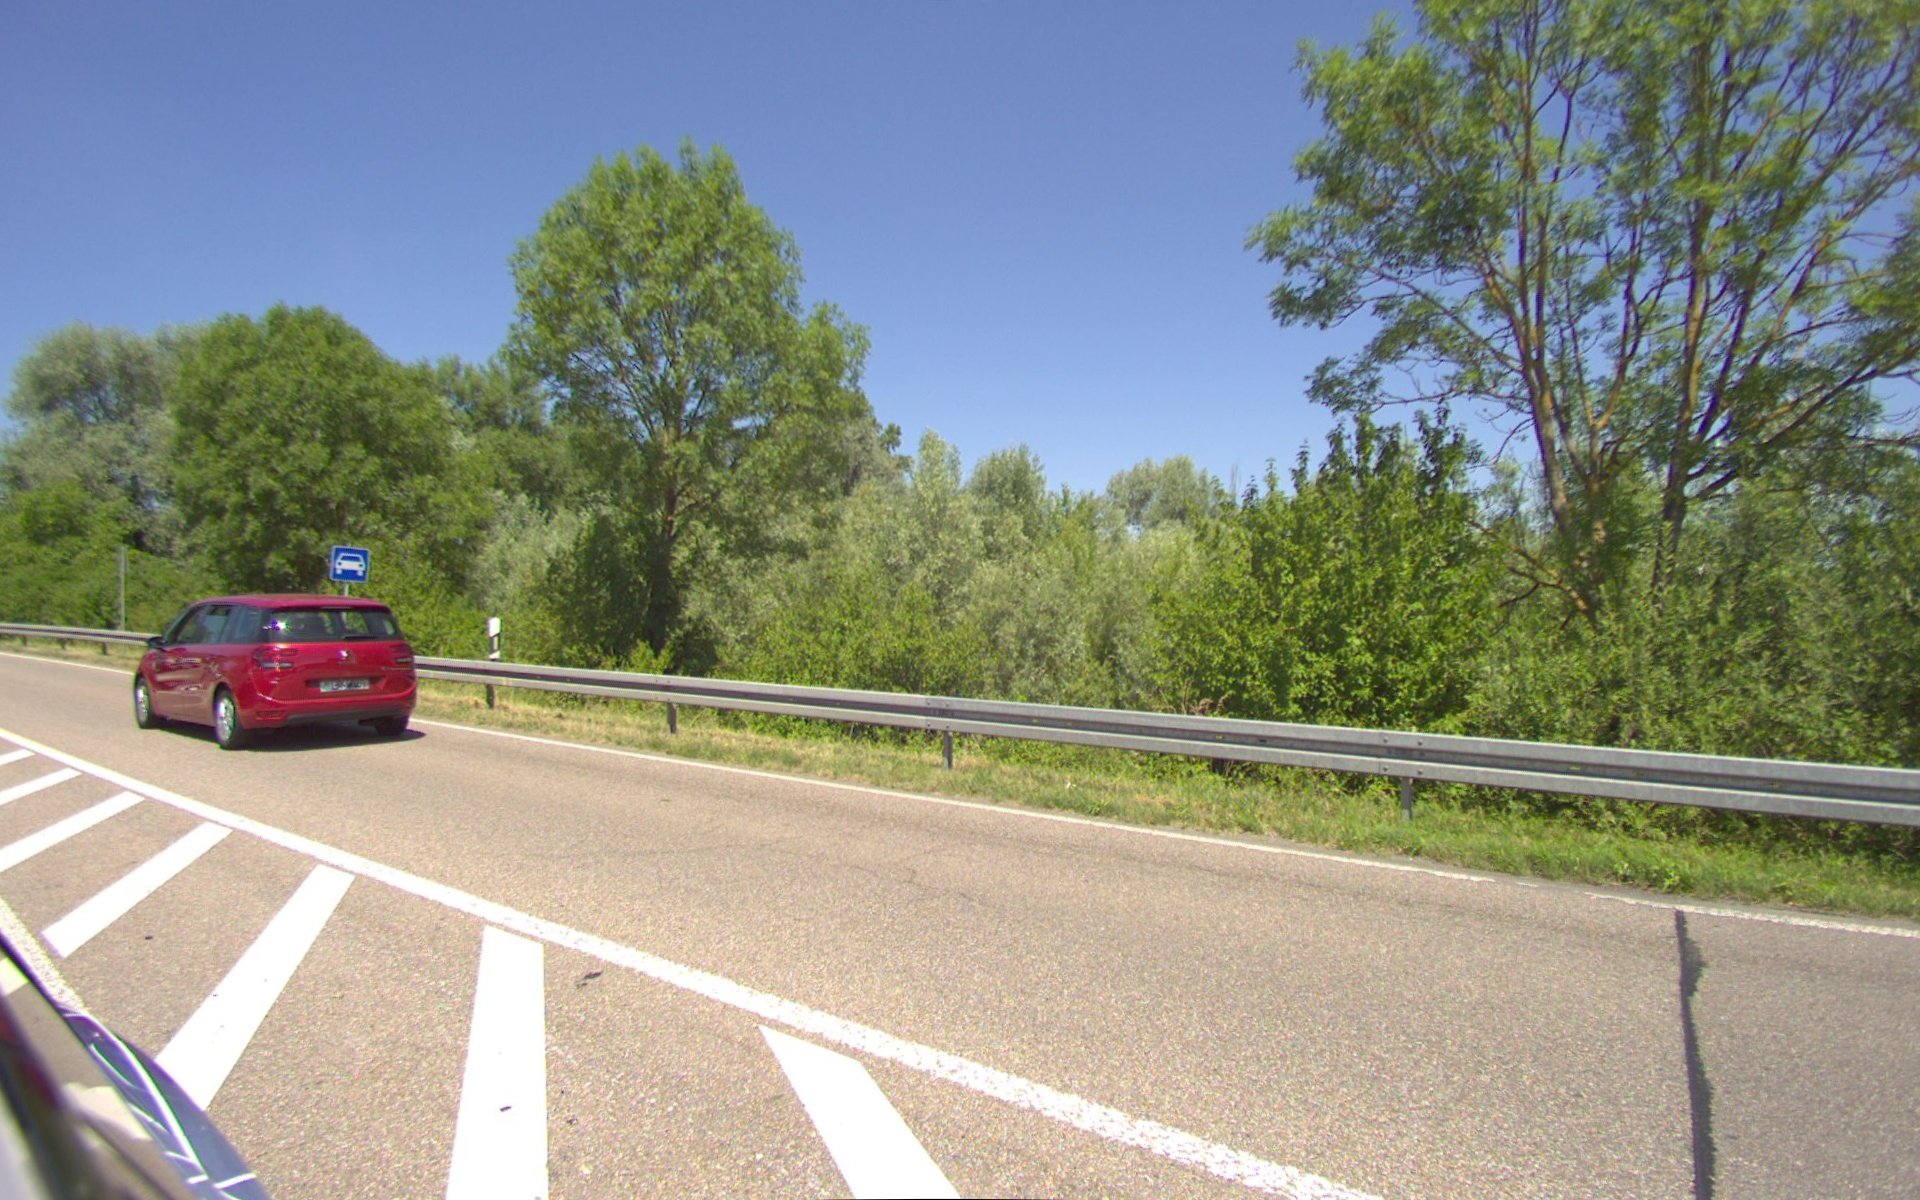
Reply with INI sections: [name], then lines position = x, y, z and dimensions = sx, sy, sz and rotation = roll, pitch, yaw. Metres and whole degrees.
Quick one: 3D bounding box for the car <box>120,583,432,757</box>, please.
[car]
position = -8.112, 0.727, 11.875
dimensions = 4.202, 1.698, 1.720
rotation = 0, -2, 37
